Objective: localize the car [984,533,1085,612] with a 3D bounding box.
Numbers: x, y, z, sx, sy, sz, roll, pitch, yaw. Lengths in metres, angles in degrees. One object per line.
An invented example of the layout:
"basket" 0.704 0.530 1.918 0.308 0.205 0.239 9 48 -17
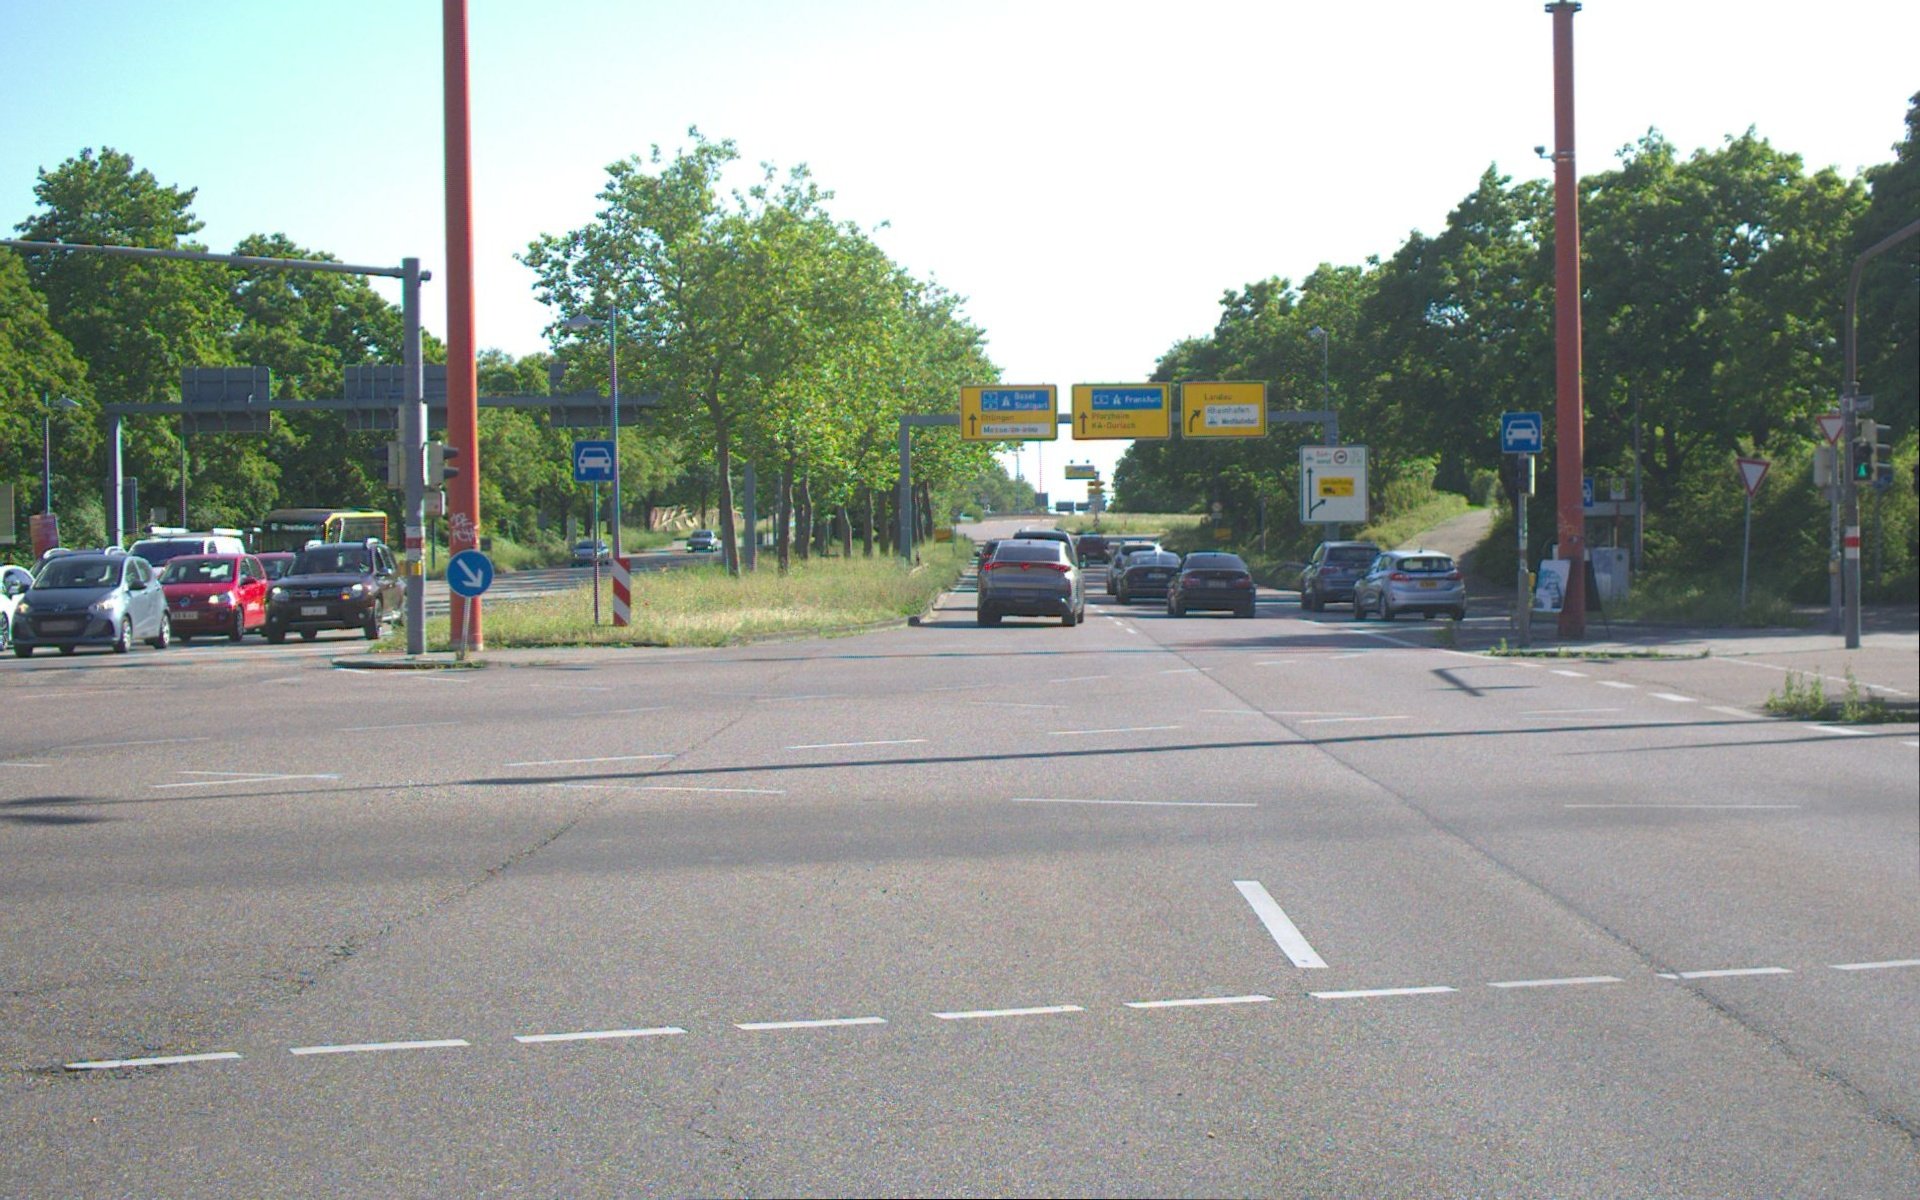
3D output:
"car" 1.409 -0.532 64.636 1.830 1.417 4.437 -1 1 1

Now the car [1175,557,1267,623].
"car" 5.724 -0.240 74.914 1.760 1.345 4.362 0 1 7

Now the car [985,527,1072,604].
"car" 1.535 -0.805 78.780 1.845 1.702 4.307 -1 1 -1

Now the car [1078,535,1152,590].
"car" 4.733 -1.154 105.167 1.822 1.630 4.254 -1 1 -3

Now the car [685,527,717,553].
"car" -17.179 -3.948 227.805 1.841 1.661 4.000 1 1 -1

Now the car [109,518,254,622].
"car" -16.003 -0.607 70.921 1.893 2.019 5.223 1 0 -1

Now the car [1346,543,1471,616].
"car" 9.316 -0.440 71.699 1.678 1.462 3.996 -1 1 -6

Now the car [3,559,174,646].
"car" -13.114 0.014 51.908 1.739 1.239 3.613 -1 1 -1

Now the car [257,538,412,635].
"car" -10.152 -0.241 56.048 1.819 1.503 4.000 -1 1 -1

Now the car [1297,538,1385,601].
"car" 9.163 -0.756 82.904 1.779 1.480 4.329 -1 1 2

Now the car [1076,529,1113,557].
"car" 6.989 -2.997 179.368 1.680 1.430 4.065 -1 1 -1

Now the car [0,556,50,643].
"car" -16.423 -0.018 57.053 1.739 1.406 3.613 -1 1 -1

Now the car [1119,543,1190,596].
"car" 5.096 -0.813 90.532 1.760 1.345 4.363 -1 1 2

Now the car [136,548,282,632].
"car" -12.692 -0.191 58.277 1.739 1.357 3.613 -1 1 -1
